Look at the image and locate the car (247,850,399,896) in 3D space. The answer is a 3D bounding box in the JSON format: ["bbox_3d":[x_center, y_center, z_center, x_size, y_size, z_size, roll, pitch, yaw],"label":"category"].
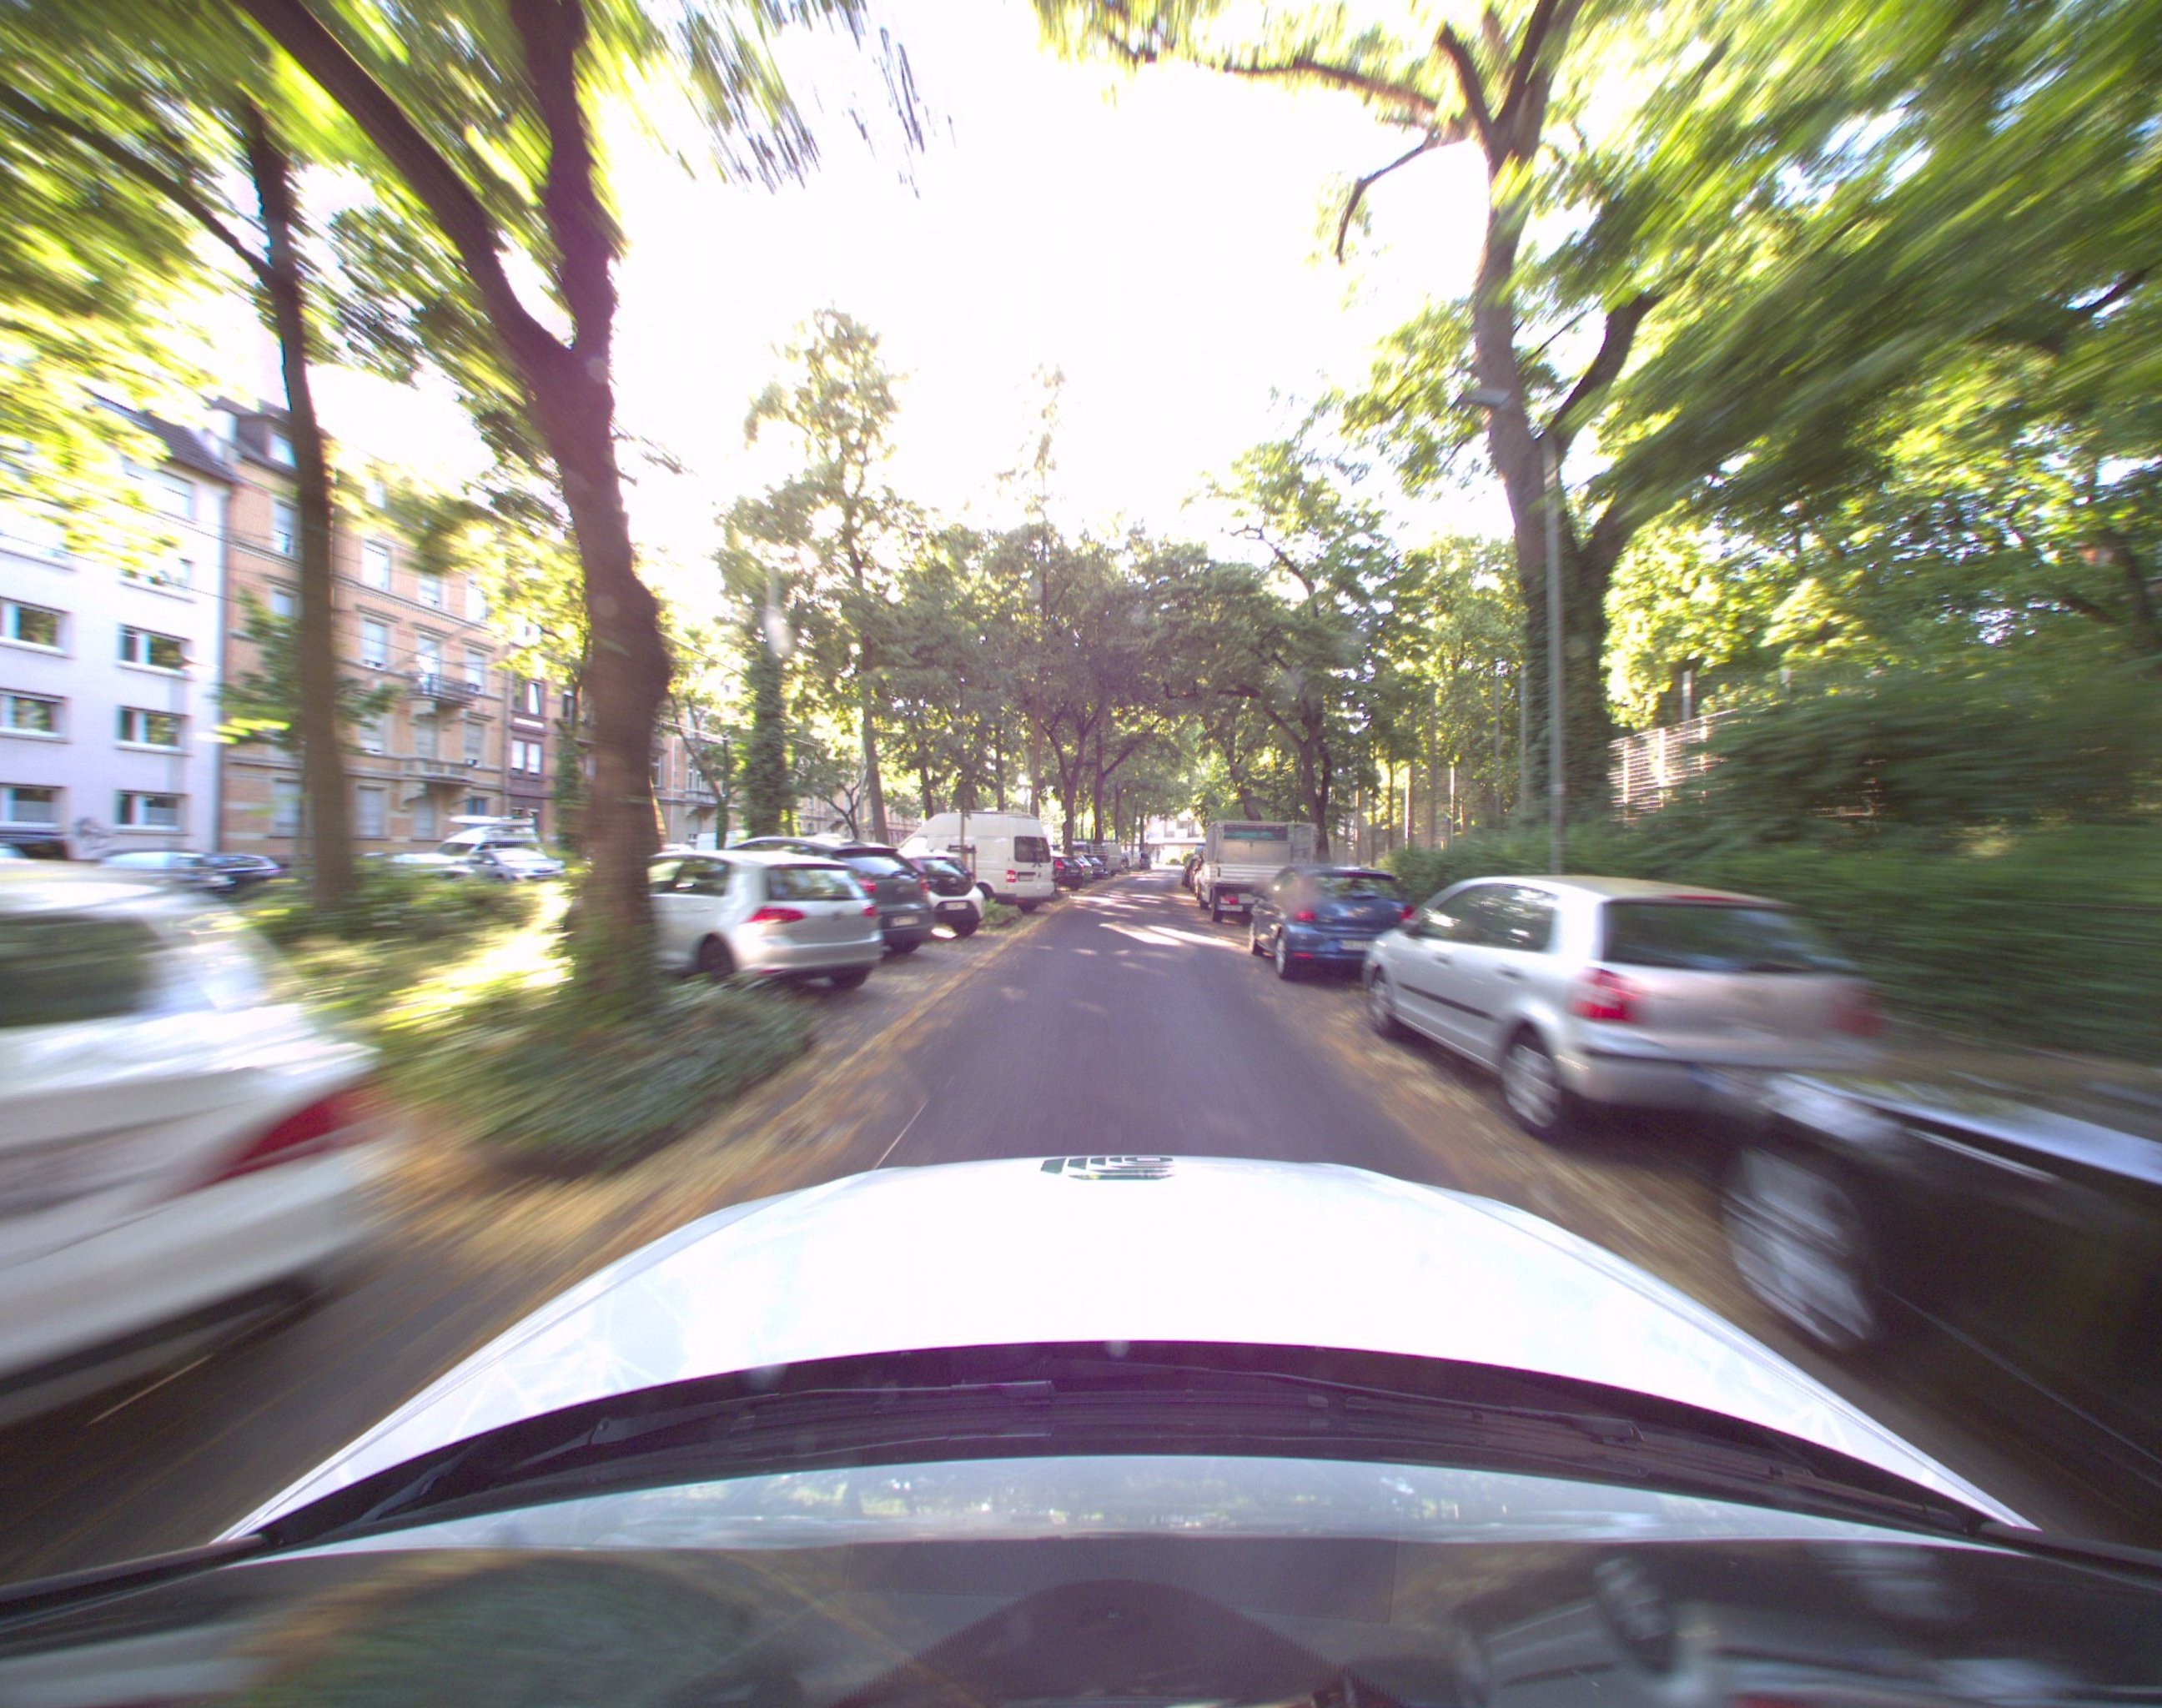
[{"bbox_3d":[-26.384,0.616,28.513,1.842,1.404,3.513,3,1,5],"label":"car"}]

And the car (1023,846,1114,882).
[{"bbox_3d":[-0.701,0.498,42.481,4.514,1.540,1.946,4,0,40],"label":"car"}]

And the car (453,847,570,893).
[{"bbox_3d":[-18.262,0.491,26.078,3.948,1.381,1.815,-1,0,35],"label":"car"}]

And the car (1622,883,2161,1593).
[{"bbox_3d":[3.038,0.827,1.270,1.666,1.390,4.268,1,0,2],"label":"car"}]

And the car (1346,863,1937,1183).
[{"bbox_3d":[3.312,0.826,5.845,1.666,1.458,3.895,1,0,2],"label":"car"}]

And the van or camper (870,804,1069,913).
[{"bbox_3d":[-2.949,0.061,21.113,4.824,2.470,2.058,3,0,33],"label":"van or camper"}]

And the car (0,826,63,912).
[{"bbox_3d":[-26.927,0.361,18.474,1.842,1.993,4.424,3,1,5],"label":"car"}]

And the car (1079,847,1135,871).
[{"bbox_3d":[2.116,0.411,66.378,4.108,1.644,1.927,4,0,39],"label":"car"}]

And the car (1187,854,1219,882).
[{"bbox_3d":[6.524,0.717,43.883,1.582,1.454,3.561,1,0,7],"label":"car"}]

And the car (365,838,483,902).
[{"bbox_3d":[-18.602,0.429,23.002,3.948,1.647,1.749,-1,0,38],"label":"car"}]

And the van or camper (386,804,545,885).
[{"bbox_3d":[-25.695,-0.381,34.342,2.064,3.109,5.522,1,0,5],"label":"van or camper"}]

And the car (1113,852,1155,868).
[{"bbox_3d":[5.838,0.658,90.130,4.147,1.439,1.843,4,0,32],"label":"car"}]

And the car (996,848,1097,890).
[{"bbox_3d":[-1.425,0.589,33.023,3.777,1.439,1.836,4,0,41],"label":"car"}]

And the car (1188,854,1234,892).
[{"bbox_3d":[5.319,0.740,33.650,1.664,1.454,3.955,1,0,6],"label":"car"}]

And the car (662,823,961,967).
[{"bbox_3d":[-4.001,0.502,12.001,3.990,1.662,1.868,4,0,29],"label":"car"}]

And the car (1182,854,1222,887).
[{"bbox_3d":[5.636,0.729,38.378,1.664,1.454,3.955,1,0,6],"label":"car"}]

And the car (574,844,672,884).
[{"bbox_3d":[-18.156,0.397,32.221,4.268,1.385,1.919,-3,-2,39],"label":"car"}]

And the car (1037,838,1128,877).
[{"bbox_3d":[0.038,0.202,51.584,5.444,2.137,2.094,4,0,37],"label":"car"}]

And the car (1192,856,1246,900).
[{"bbox_3d":[4.771,0.770,28.627,1.663,1.397,4.307,1,0,7],"label":"car"}]

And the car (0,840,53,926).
[{"bbox_3d":[-19.856,0.469,14.267,3.949,1.427,1.783,1,0,31],"label":"car"}]

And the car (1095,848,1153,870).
[{"bbox_3d":[3.950,0.446,75.462,4.939,1.781,2.000,4,0,35],"label":"car"}]

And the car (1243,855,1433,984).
[{"bbox_3d":[3.370,0.761,11.403,1.665,1.458,3.897,1,0,4],"label":"car"}]

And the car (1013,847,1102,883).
[{"bbox_3d":[-1.188,0.518,39.788,4.042,1.488,1.795,4,0,38],"label":"car"}]

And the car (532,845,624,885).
[{"bbox_3d":[-25.104,0.502,40.802,1.842,1.782,3.922,3,1,5],"label":"car"}]

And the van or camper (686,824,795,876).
[{"bbox_3d":[-16.950,-0.167,40.441,5.604,2.468,2.013,-1,0,31],"label":"van or camper"}]

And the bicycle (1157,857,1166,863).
[{"bbox_3d":[12.098,0.952,122.670,0.545,0.904,1.721,1,0,-27],"label":"bicycle"}]

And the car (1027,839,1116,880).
[{"bbox_3d":[-0.562,0.287,45.250,4.654,1.942,1.946,4,0,40],"label":"car"}]

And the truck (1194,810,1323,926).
[{"bbox_3d":[4.172,0.296,20.424,2.285,2.386,6.943,1,0,5],"label":"truck"}]

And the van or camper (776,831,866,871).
[{"bbox_3d":[-15.878,-0.160,49.659,5.480,2.371,2.322,-1,0,34],"label":"van or camper"}]

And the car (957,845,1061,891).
[{"bbox_3d":[-2.735,0.502,30.859,3.505,1.493,1.837,4,0,35],"label":"car"}]

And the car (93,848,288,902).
[{"bbox_3d":[-26.673,0.577,24.569,1.842,1.404,3.513,3,1,5],"label":"car"}]

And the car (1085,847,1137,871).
[{"bbox_3d":[2.561,0.382,69.577,4.109,1.781,1.895,4,0,43],"label":"car"}]

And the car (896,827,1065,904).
[{"bbox_3d":[-3.071,0.296,24.443,4.824,1.977,2.058,3,0,35],"label":"car"}]

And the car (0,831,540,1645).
[{"bbox_3d":[-3.929,0.695,2.672,4.409,1.404,1.868,4,1,32],"label":"car"}]

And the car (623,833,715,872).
[{"bbox_3d":[-17.609,-0.049,34.726,4.269,1.582,1.919,-1,0,39],"label":"car"}]

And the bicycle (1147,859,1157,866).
[{"bbox_3d":[10.867,1.255,124.637,0.641,1.022,2.070,0,0,-26],"label":"bicycle"}]

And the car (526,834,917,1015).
[{"bbox_3d":[-4.088,0.622,9.095,4.190,1.440,1.868,4,0,32],"label":"car"}]

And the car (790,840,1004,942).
[{"bbox_3d":[-3.365,0.599,14.726,3.505,1.493,1.837,4,0,35],"label":"car"}]

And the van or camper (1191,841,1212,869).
[{"bbox_3d":[12.616,0.136,85.000,2.072,2.762,5.859,1,0,8],"label":"van or camper"}]
